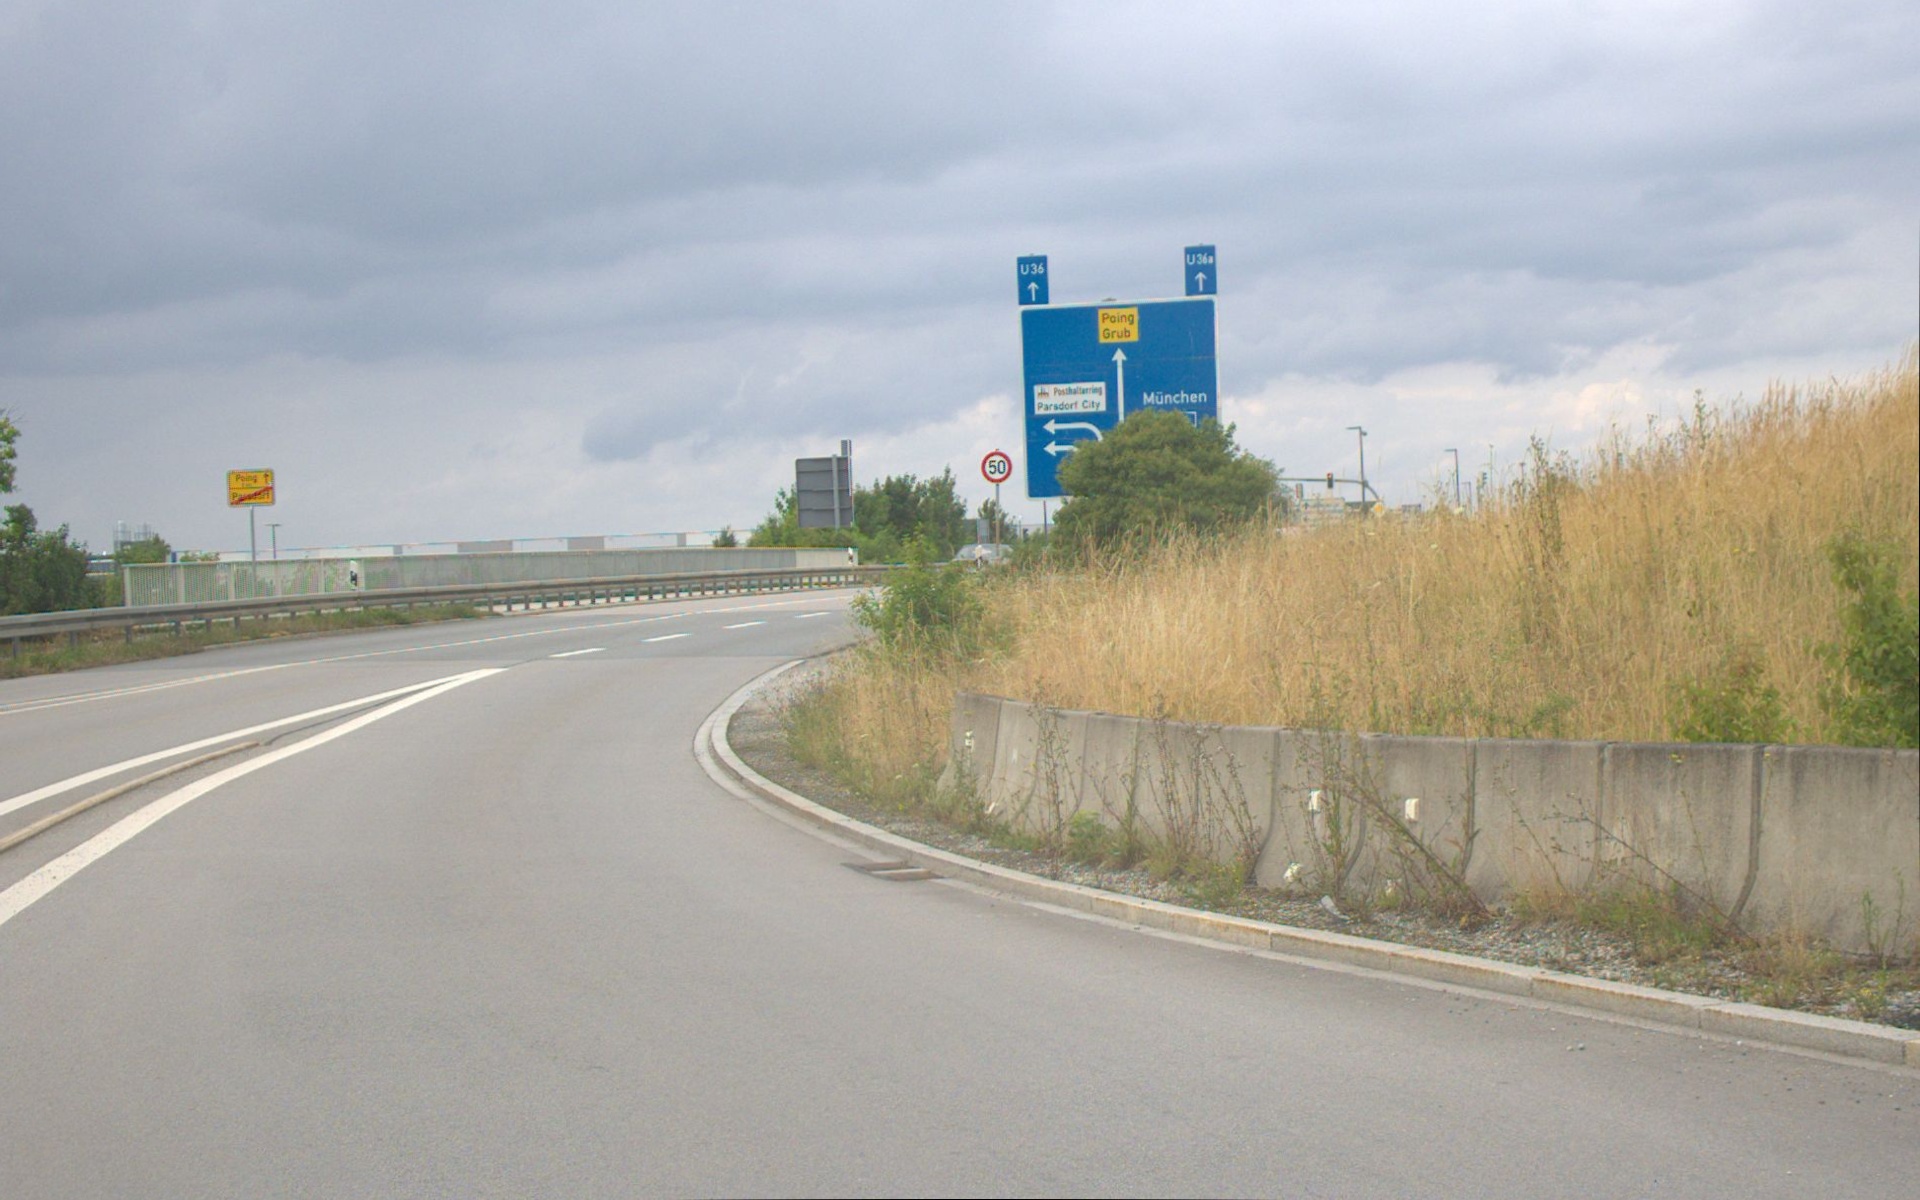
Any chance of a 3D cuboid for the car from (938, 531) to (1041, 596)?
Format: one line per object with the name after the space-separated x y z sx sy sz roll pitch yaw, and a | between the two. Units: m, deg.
0.724 -0.891 82.457 1.519 1.480 3.613 -2 1 16 | car
